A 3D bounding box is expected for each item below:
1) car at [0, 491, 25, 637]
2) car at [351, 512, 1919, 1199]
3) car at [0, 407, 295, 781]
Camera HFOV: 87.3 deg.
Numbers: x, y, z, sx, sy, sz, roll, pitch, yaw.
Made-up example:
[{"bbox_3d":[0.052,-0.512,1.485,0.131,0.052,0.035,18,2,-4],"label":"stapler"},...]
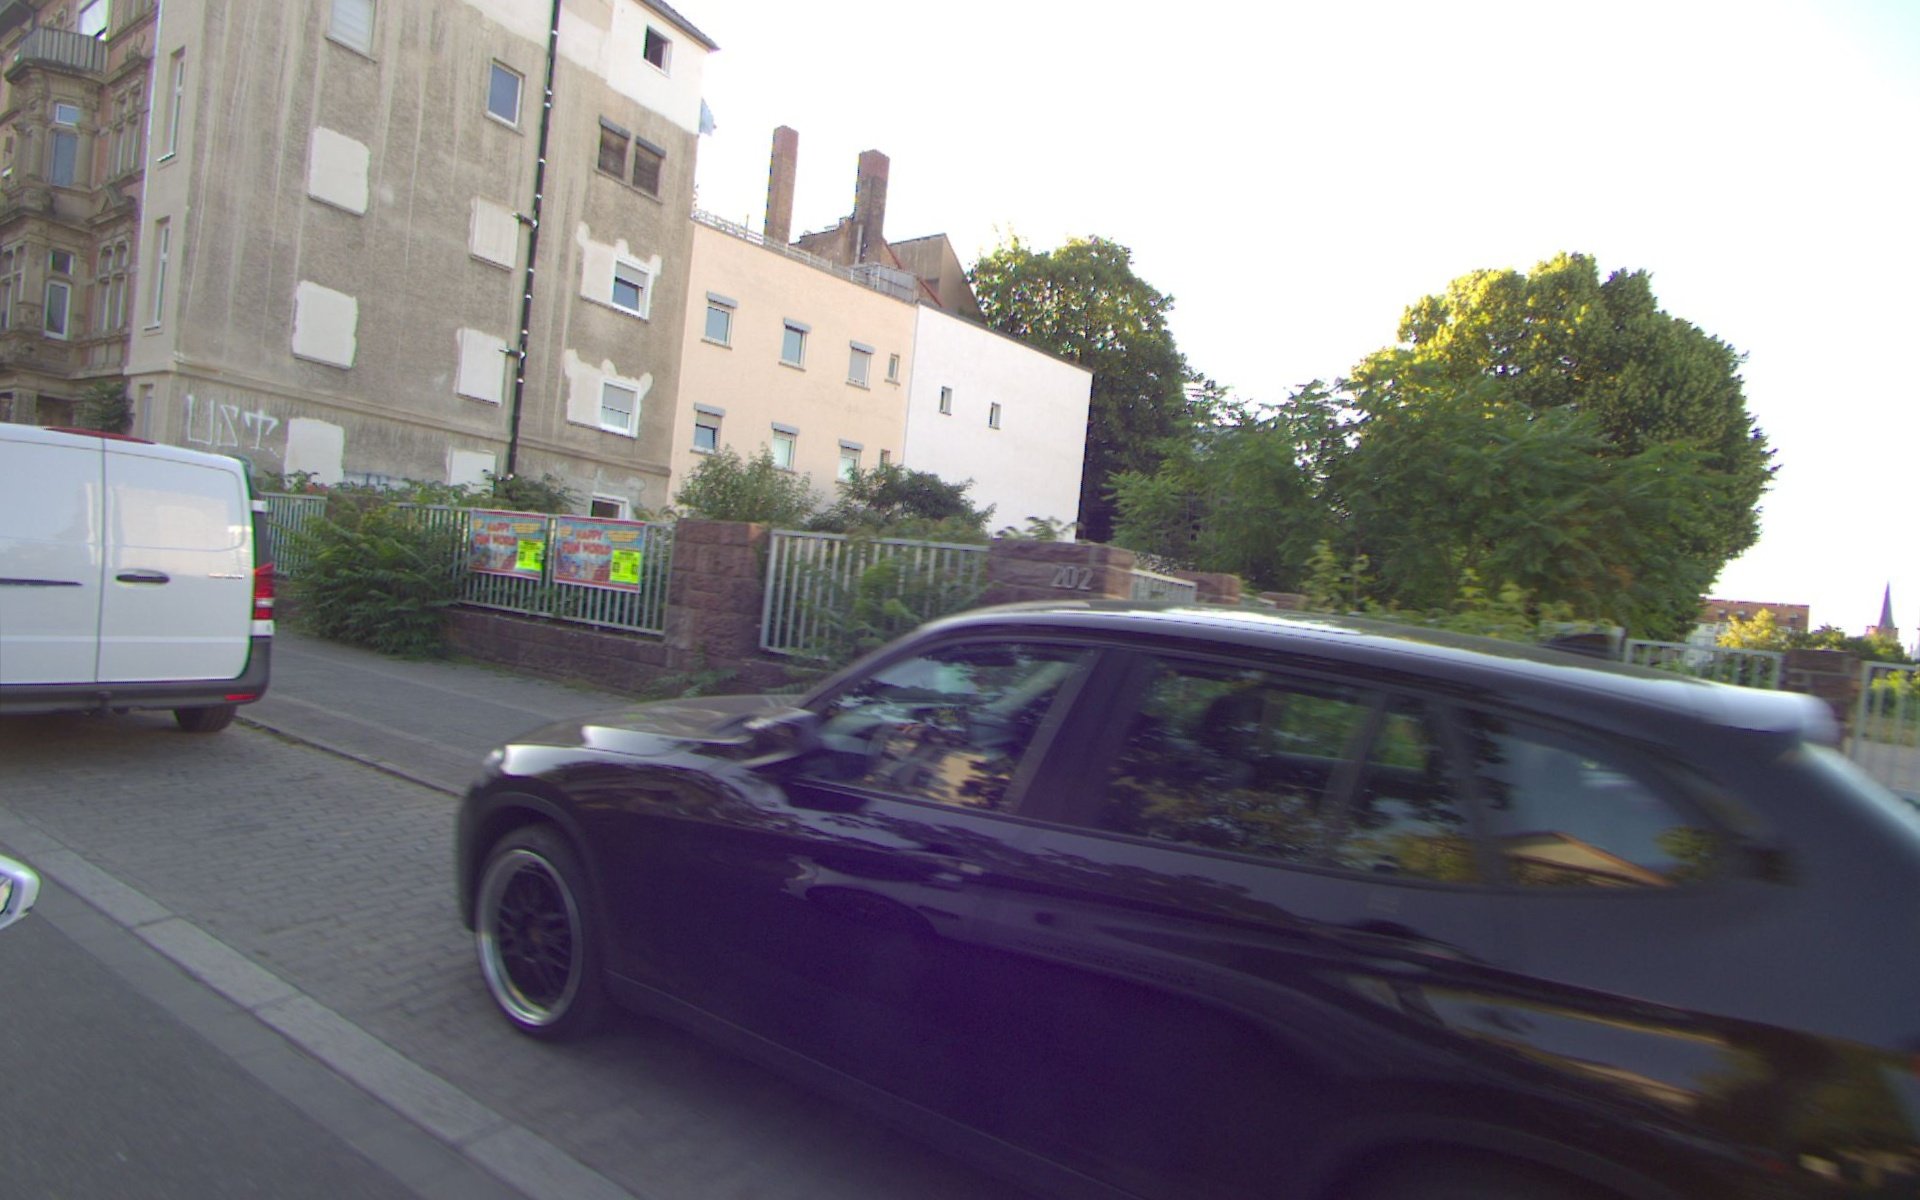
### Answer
[{"bbox_3d":[-11.519,-0.552,10.347,4.567,1.404,1.727,6,3,33],"label":"car"},{"bbox_3d":[0.211,0.707,3.082,4.426,1.596,1.773,6,3,33],"label":"car"},{"bbox_3d":[-6.819,-0.237,6.996,5.097,1.945,1.885,6,3,35],"label":"car"}]
